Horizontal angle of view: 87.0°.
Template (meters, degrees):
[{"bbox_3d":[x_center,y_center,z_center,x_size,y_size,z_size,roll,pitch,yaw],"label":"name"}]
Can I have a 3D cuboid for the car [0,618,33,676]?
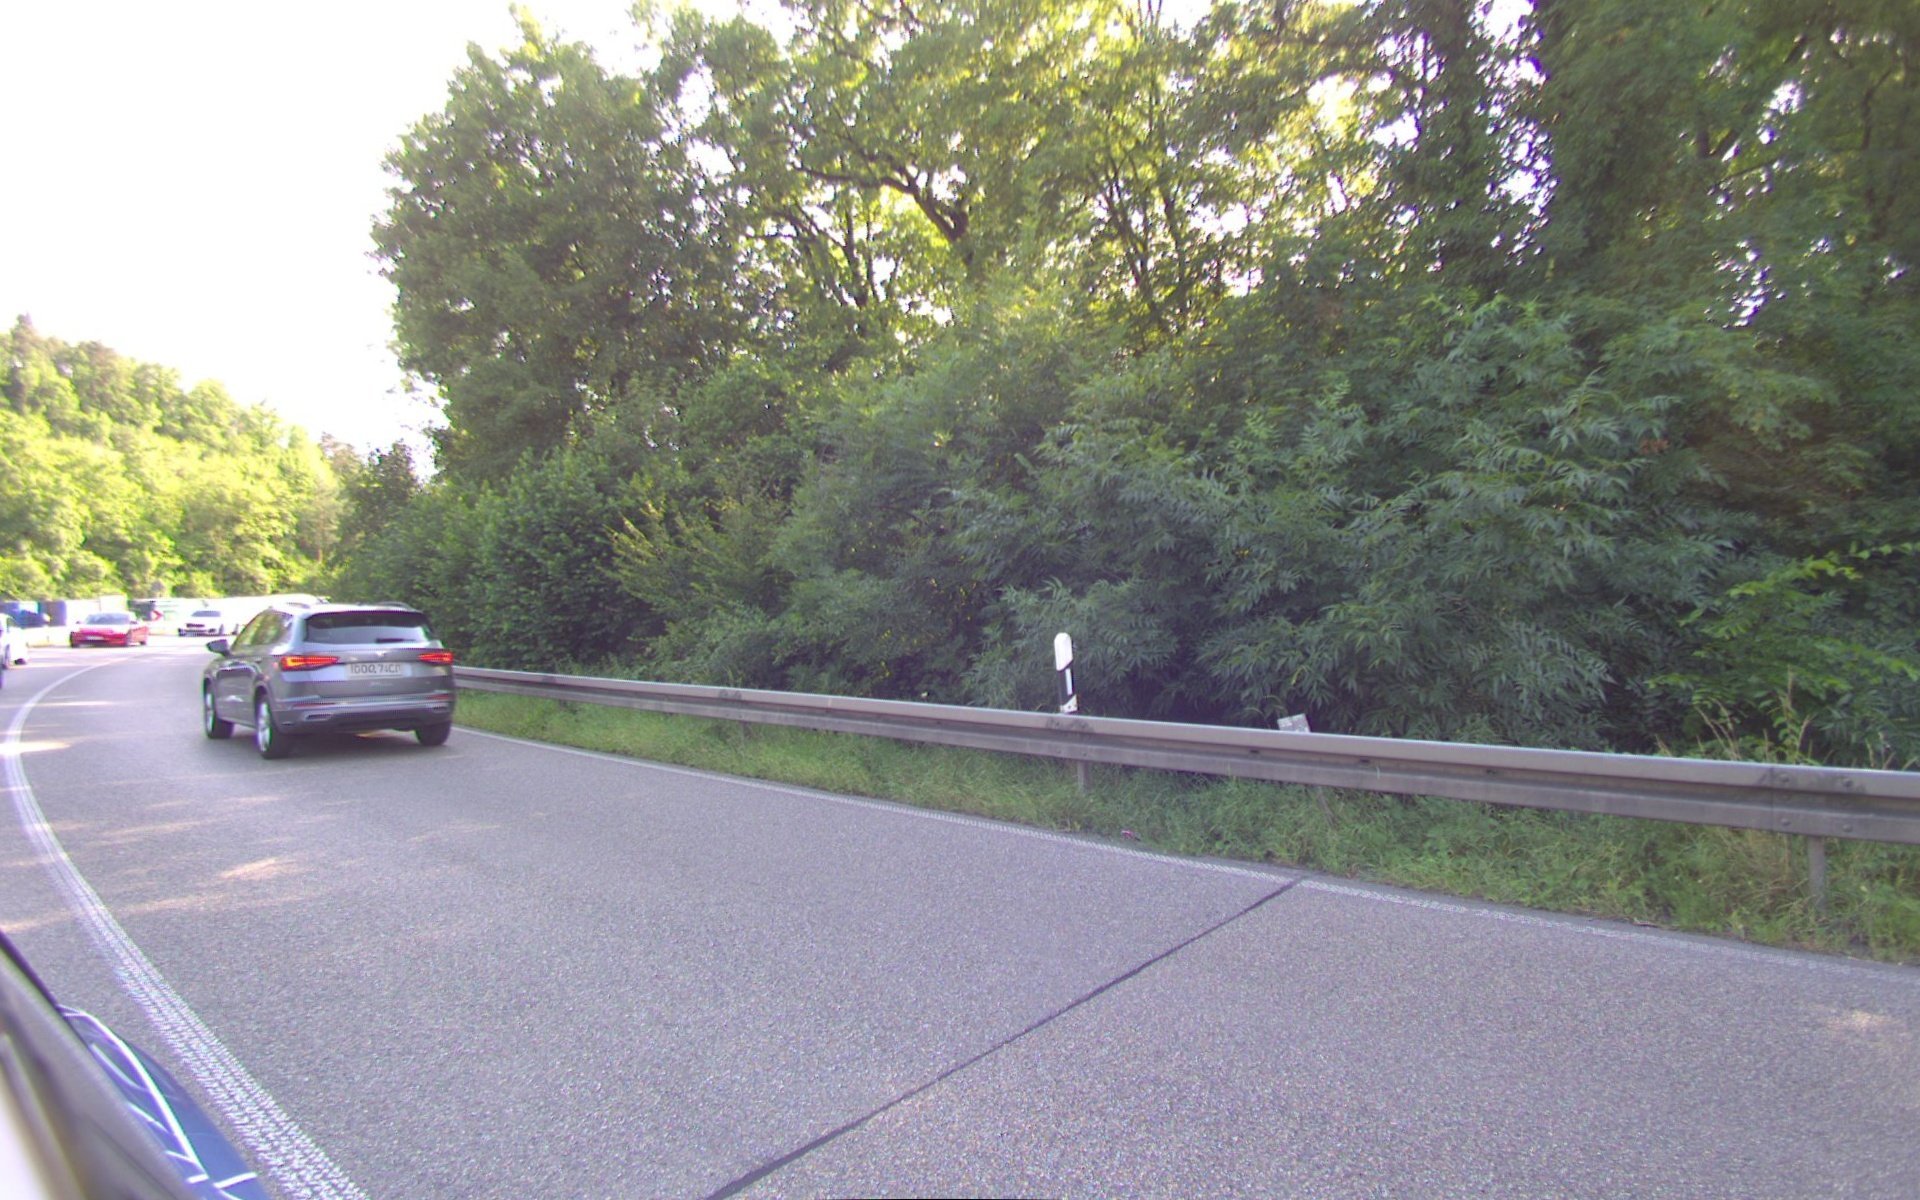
[{"bbox_3d":[-26.227,1.260,26.930,1.868,1.456,4.485,-3,1,-38],"label":"car"}]

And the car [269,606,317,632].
[{"bbox_3d":[-47.105,1.318,71.533,1.829,1.608,4.552,-3,1,-21],"label":"car"}]

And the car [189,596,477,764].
[{"bbox_3d":[-7.266,0.813,11.558,4.000,1.577,1.847,-3,-2,44],"label":"car"}]

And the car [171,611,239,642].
[{"bbox_3d":[-40.668,1.392,54.621,1.884,1.476,4.552,-3,1,-23],"label":"car"}]

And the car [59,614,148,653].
[{"bbox_3d":[-34.636,1.311,41.060,1.829,1.431,4.433,0,0,-28],"label":"car"}]

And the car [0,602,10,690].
[{"bbox_3d":[-18.939,0.909,18.481,1.839,1.733,4.773,0,0,-38],"label":"car"}]
